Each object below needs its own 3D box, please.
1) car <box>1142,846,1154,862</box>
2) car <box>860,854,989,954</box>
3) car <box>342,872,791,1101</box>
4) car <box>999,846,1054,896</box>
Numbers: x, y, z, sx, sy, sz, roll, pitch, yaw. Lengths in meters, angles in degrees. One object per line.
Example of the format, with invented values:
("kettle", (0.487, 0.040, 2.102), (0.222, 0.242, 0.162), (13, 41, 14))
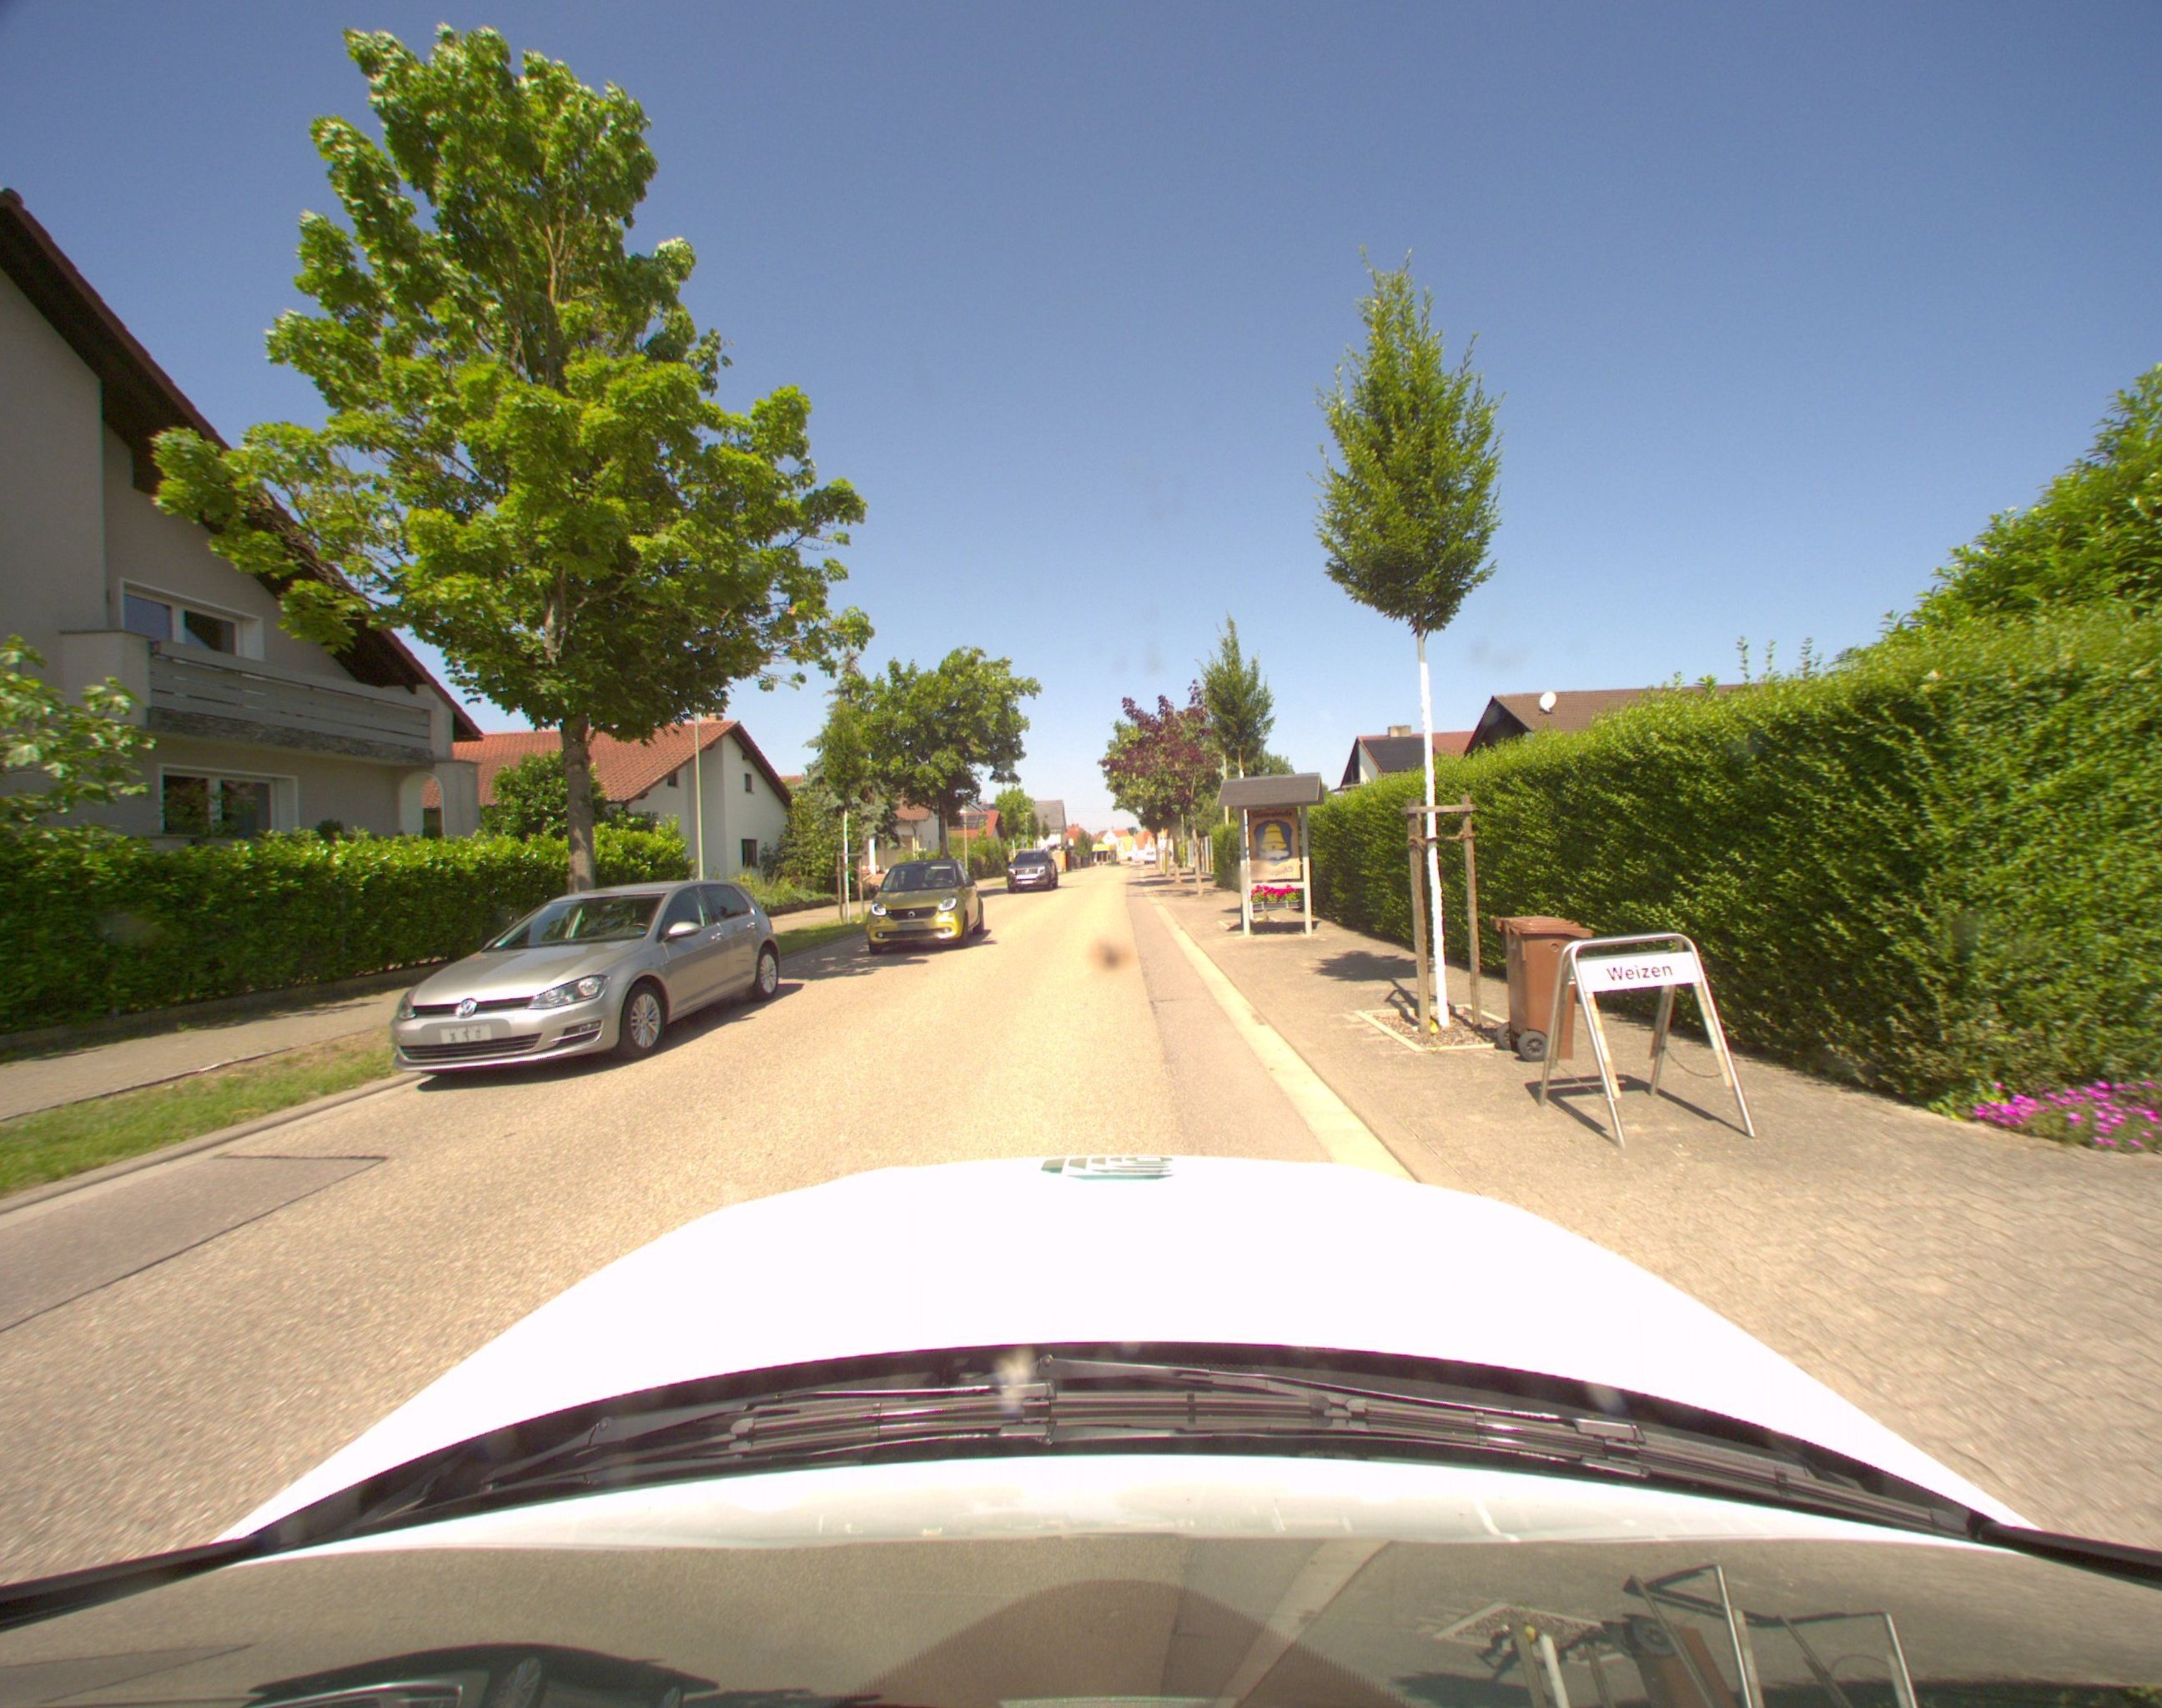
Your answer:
("car", (10.704, 0.060, 129.683), (1.729, 2.432, 4.380), (-3, 0, 5))
("car", (-2.746, 0.817, 14.978), (1.661, 1.524, 3.441), (-4, 0, -1))
("car", (-4.423, 0.991, 7.891), (1.642, 1.423, 4.079), (-5, 0, 0))
("car", (-2.146, 0.638, 32.901), (1.830, 1.752, 3.795), (-5, 0, 0))
